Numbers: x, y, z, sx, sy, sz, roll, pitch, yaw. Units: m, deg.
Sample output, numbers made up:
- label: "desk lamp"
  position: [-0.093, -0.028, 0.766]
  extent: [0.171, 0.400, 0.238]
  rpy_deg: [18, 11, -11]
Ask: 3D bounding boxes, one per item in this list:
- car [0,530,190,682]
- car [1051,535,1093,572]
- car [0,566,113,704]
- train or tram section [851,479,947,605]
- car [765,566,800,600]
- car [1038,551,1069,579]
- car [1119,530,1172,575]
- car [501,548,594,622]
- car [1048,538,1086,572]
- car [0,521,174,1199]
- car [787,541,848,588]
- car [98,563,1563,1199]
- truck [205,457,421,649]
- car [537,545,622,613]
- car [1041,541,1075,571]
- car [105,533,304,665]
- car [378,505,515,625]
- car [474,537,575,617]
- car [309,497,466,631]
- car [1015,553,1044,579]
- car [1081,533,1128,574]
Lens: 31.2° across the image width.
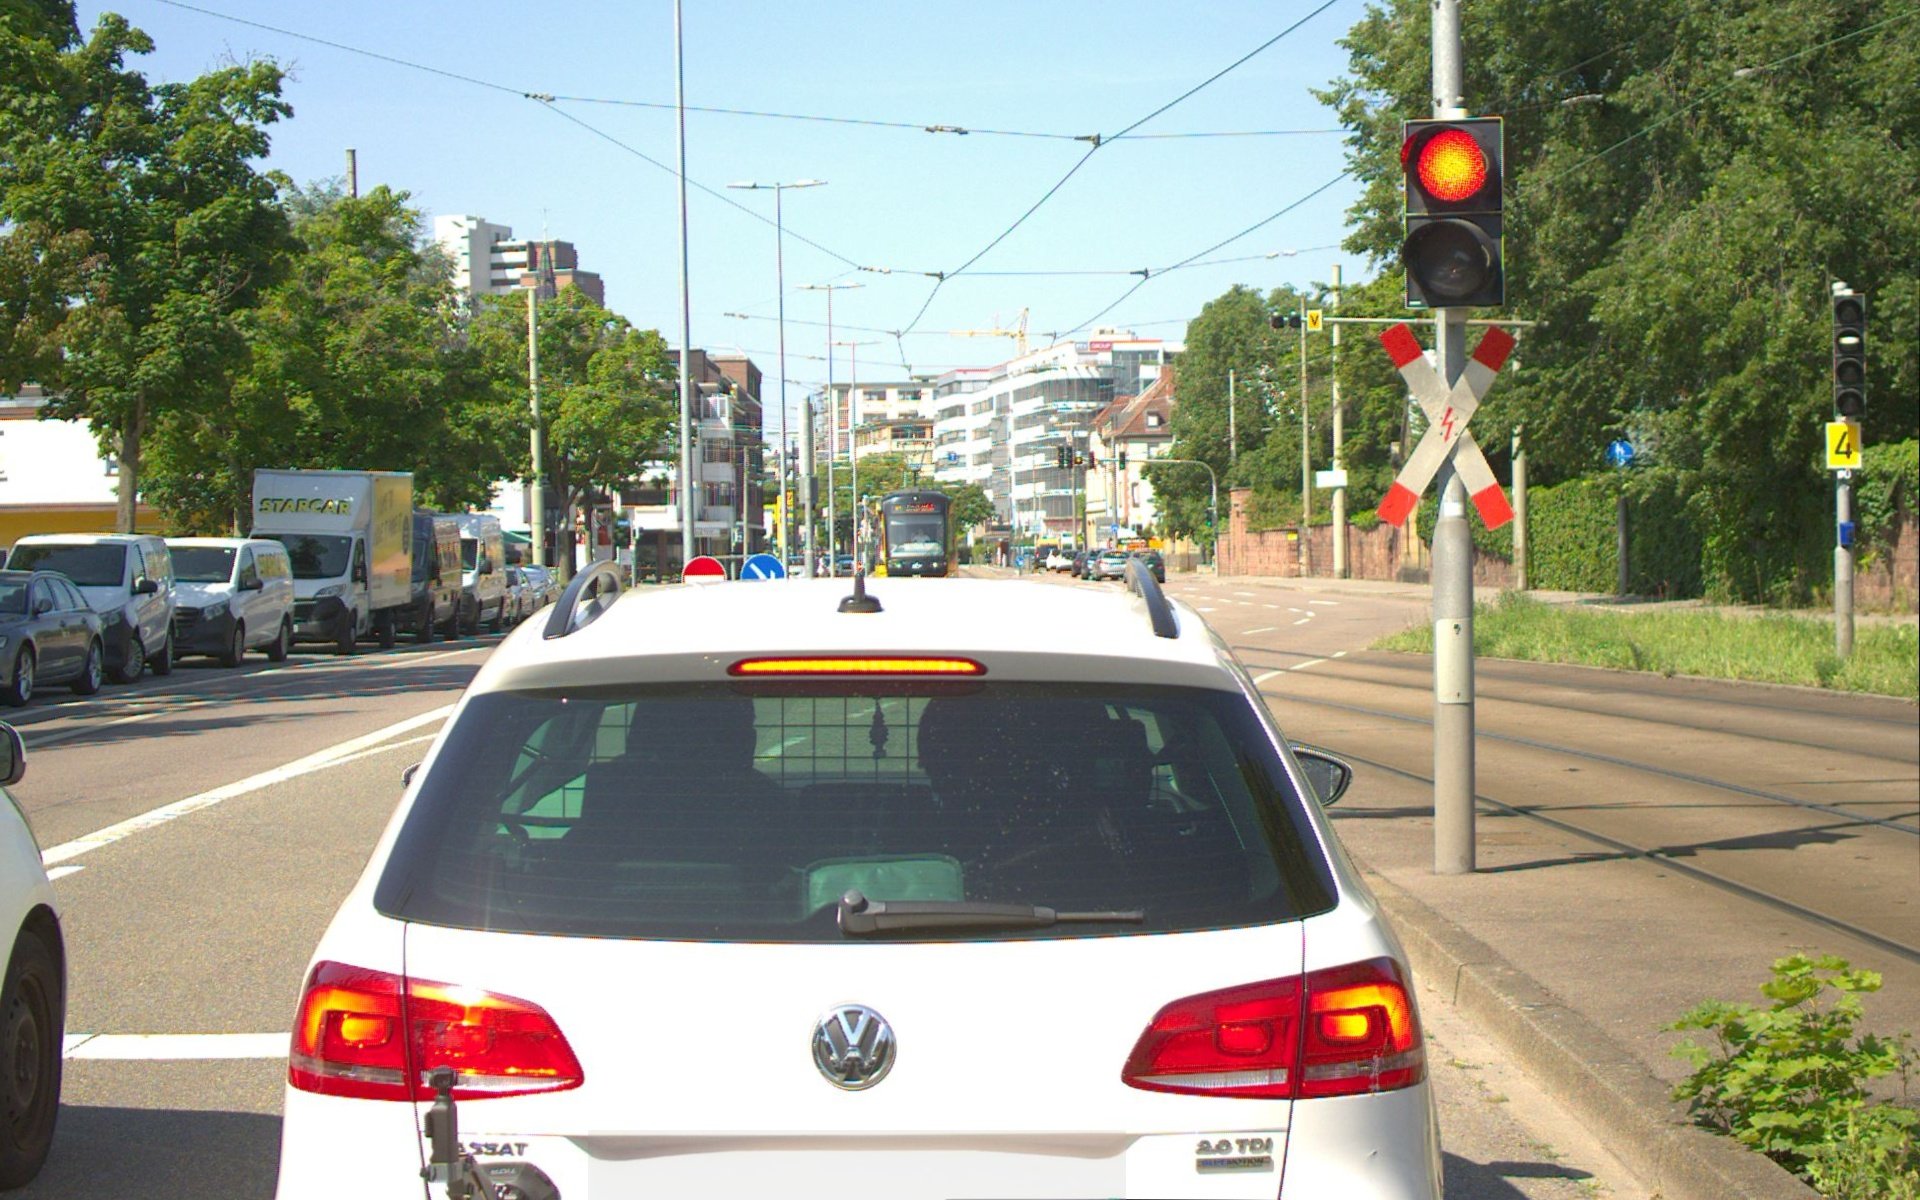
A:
- label: "car"
  position: [-11.423, 0.030, 45.312]
  extent: [1.863, 1.861, 5.075]
  rpy_deg: [1, 1, -6]
- label: "car"
  position: [5.875, -2.447, 180.618]
  extent: [1.863, 1.861, 5.062]
  rpy_deg: [1, 1, -1]
- label: "car"
  position: [-10.970, 0.345, 38.705]
  extent: [1.863, 1.411, 4.280]
  rpy_deg: [1, 1, -1]
- label: "train or tram section"
  position: [-1.962, -1.907, 112.550]
  extent: [2.870, 3.842, 12.392]
  rpy_deg: [-1, 1, -1]
- label: "car"
  position: [-10.146, -0.961, 196.328]
  extent: [1.762, 1.889, 4.914]
  rpy_deg: [1, 0, -1]
- label: "car"
  position: [6.514, -2.429, 239.859]
  extent: [1.863, 1.861, 5.062]
  rpy_deg: [1, 1, -1]
- label: "car"
  position: [8.001, -2.076, 148.934]
  extent: [1.863, 1.861, 5.062]
  rpy_deg: [1, 1, -1]
- label: "car"
  position: [-10.962, -0.428, 91.684]
  extent: [1.863, 1.861, 5.414]
  rpy_deg: [1, 1, -1]
- label: "car"
  position: [6.113, -2.599, 196.814]
  extent: [1.863, 1.861, 5.062]
  rpy_deg: [1, 1, -1]
- label: "car"
  position: [-2.941, 0.612, 6.879]
  extent: [1.662, 1.542, 4.547]
  rpy_deg: [0, 1, 0]
- label: "car"
  position: [-4.625, -1.181, 112.170]
  extent: [1.705, 1.468, 4.589]
  rpy_deg: [-2, 1, 1]
- label: "car"
  position: [-0.168, 0.682, 6.185]
  extent: [1.762, 1.425, 4.000]
  rpy_deg: [-1, 1, -1]
- label: "truck"
  position: [-11.243, -0.838, 60.315]
  extent: [2.421, 3.139, 6.997]
  rpy_deg: [1, 1, 0]
- label: "car"
  position: [-10.878, -0.623, 98.599]
  extent: [1.863, 1.861, 5.414]
  rpy_deg: [1, 1, -1]
- label: "car"
  position: [6.261, -2.812, 219.311]
  extent: [1.863, 1.861, 5.062]
  rpy_deg: [1, 1, -1]
- label: "car"
  position: [-11.330, -0.059, 51.901]
  extent: [1.863, 1.861, 5.414]
  rpy_deg: [1, 1, -1]
- label: "car"
  position: [-11.258, -0.796, 75.754]
  extent: [2.123, 2.508, 5.733]
  rpy_deg: [1, 1, 0]
- label: "car"
  position: [-10.711, -0.602, 84.866]
  extent: [1.863, 1.861, 5.414]
  rpy_deg: [1, 1, -1]
- label: "car"
  position: [-11.311, -0.731, 68.317]
  extent: [2.123, 2.508, 5.733]
  rpy_deg: [1, 1, 0]
- label: "car"
  position: [5.120, -2.543, 254.522]
  extent: [1.863, 1.861, 5.062]
  rpy_deg: [1, 1, -1]
- label: "car"
  position: [6.890, -2.230, 164.418]
  extent: [1.863, 1.861, 5.062]
  rpy_deg: [1, 1, -1]
